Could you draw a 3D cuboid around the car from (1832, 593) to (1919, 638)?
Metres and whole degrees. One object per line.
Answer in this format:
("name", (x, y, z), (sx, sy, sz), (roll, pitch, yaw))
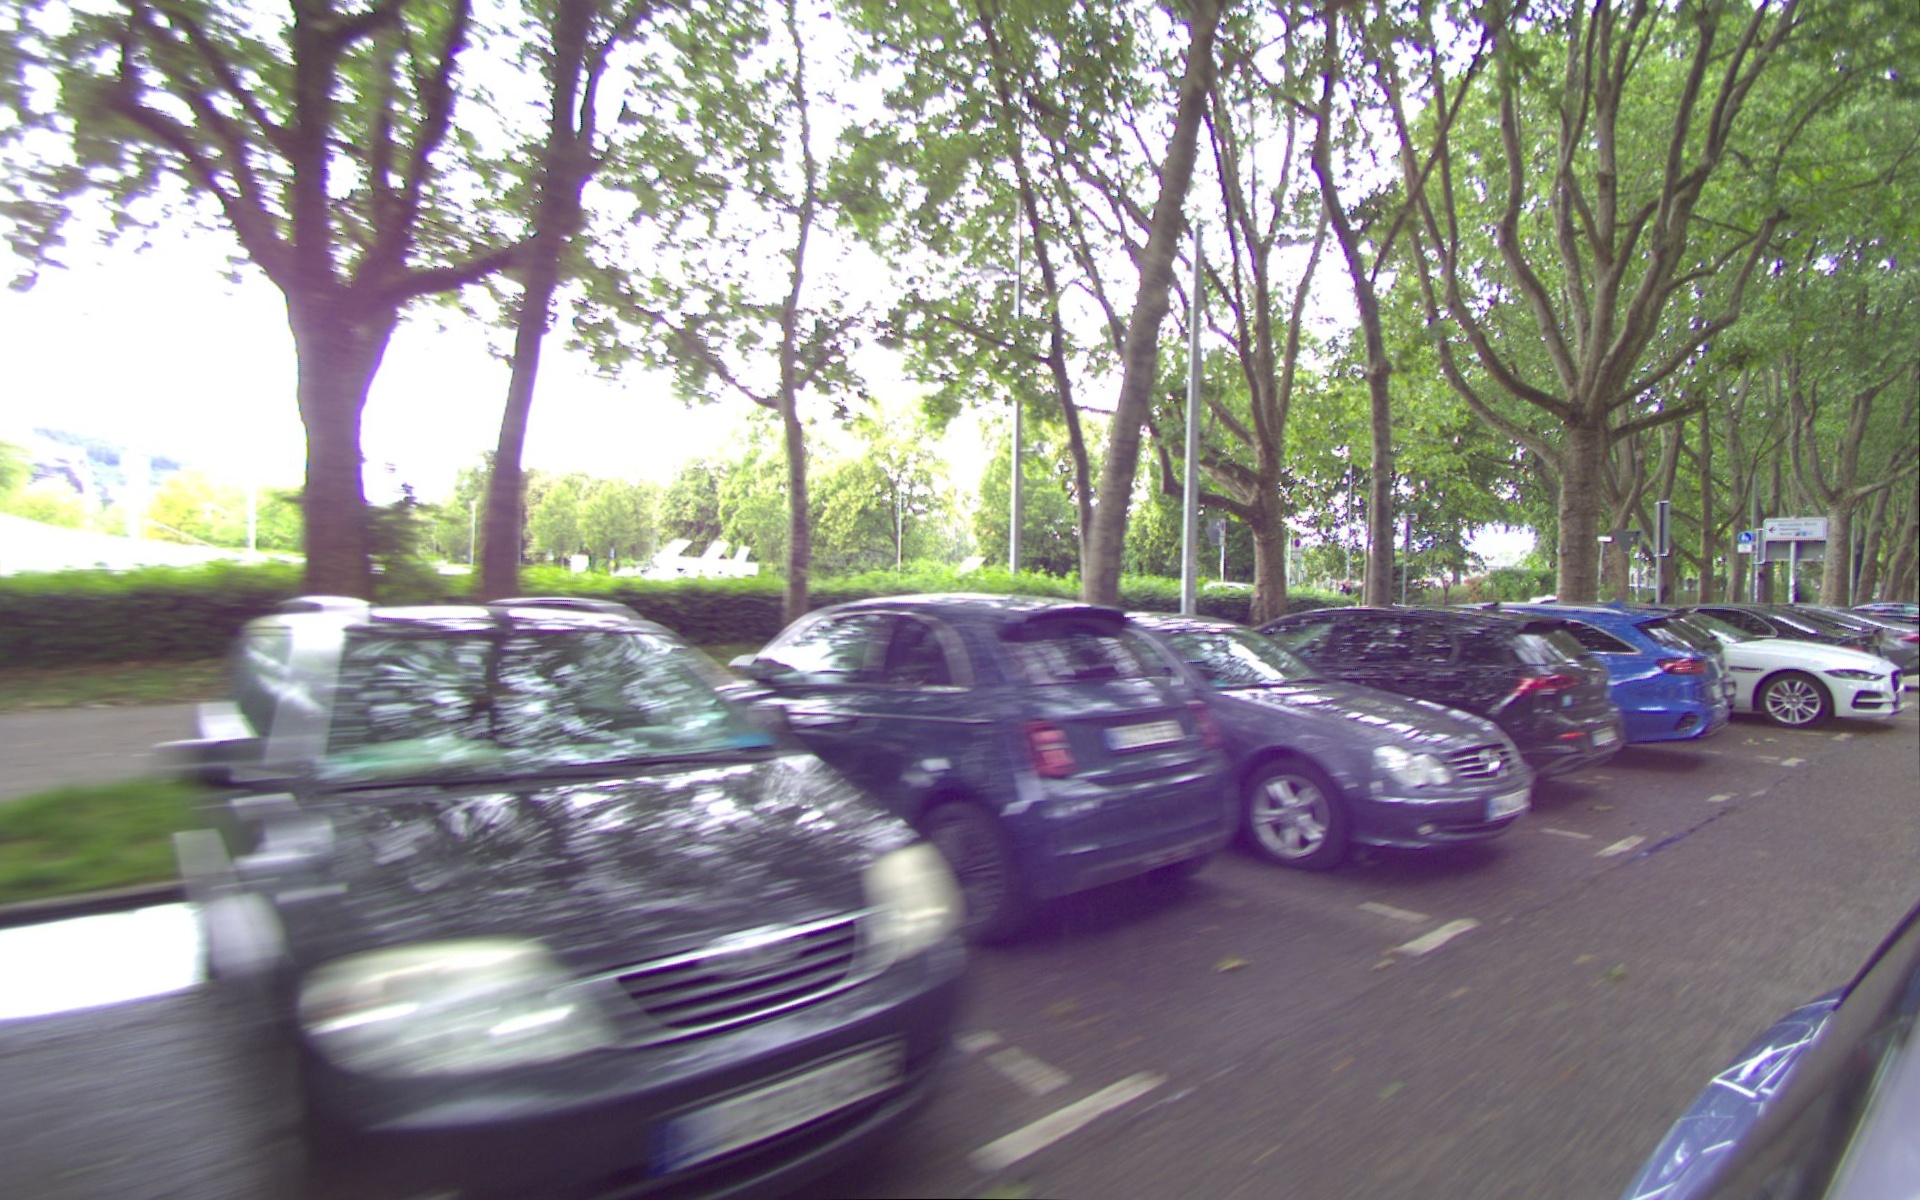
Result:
("car", (33.907, 0.543, 35.831), (1.966, 1.496, 4.378), (-1, 1, -42))

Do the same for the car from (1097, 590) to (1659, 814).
("car", (3.383, 0.672, 8.815), (1.755, 1.474, 4.200), (1, 0, -43))

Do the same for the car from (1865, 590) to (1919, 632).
("car", (36.444, 0.387, 37.115), (1.966, 1.542, 4.670), (0, -1, -42))

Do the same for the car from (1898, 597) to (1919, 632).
("car", (44.212, 0.621, 44.036), (1.962, 1.542, 4.679), (0, -1, -34))

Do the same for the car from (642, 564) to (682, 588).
("car", (-25.972, -2.057, 88.026), (1.964, 2.039, 3.996), (-1, 1, -39))

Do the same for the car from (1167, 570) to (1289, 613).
("car", (10.254, -0.347, 38.933), (1.754, 1.480, 4.284), (0, 2, -42))

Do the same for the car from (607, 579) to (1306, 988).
("car", (-0.341, 0.689, 5.966), (1.755, 1.538, 4.200), (1, 0, -43))

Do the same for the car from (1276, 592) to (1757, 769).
("car", (5.565, 0.662, 10.446), (4.017, 1.466, 1.883), (0, 0, 45))

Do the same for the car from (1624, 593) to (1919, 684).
("car", (14.944, 0.615, 18.320), (1.686, 1.435, 4.600), (1, 0, -37))

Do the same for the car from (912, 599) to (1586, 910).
("car", (1.690, 0.741, 6.996), (1.755, 1.474, 4.200), (1, 0, -43))

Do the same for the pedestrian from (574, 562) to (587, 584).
("pedestrian", (-29.270, -2.079, 77.988), (0.722, 1.664, 0.687), (0, 1, 43))

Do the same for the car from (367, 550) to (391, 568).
("car", (-69.911, -4.937, 121.677), (1.963, 2.039, 3.997), (-1, 1, -38))

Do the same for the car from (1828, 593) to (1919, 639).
("car", (32.572, 0.521, 34.107), (1.966, 1.525, 4.825), (0, -1, -42))

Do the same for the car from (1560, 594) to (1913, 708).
("car", (11.216, 0.639, 14.833), (1.687, 1.435, 3.839), (1, 0, -39))

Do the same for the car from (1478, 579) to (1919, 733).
("car", (9.547, 0.580, 13.230), (2.017, 1.644, 4.534), (1, 0, -39))

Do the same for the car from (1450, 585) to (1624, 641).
("car", (17.596, 0.341, 31.035), (1.754, 1.480, 4.284), (0, 2, -42))

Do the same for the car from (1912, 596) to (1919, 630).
("car", (46.066, 0.578, 45.334), (1.962, 1.542, 4.678), (0, -1, -35))

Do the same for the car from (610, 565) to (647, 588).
("car", (-30.299, -2.143, 92.498), (1.964, 2.039, 3.996), (-1, 1, -39))

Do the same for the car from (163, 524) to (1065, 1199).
("car", (-1.744, 0.664, 3.730), (1.754, 1.538, 4.203), (0, 0, -40))

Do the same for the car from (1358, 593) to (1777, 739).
("car", (7.155, 0.665, 12.273), (1.752, 1.466, 4.024), (1, 0, -39))

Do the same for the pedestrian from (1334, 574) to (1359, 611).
("pedestrian", (16.757, -0.317, 43.895), (0.685, 1.587, 0.725), (0, 1, -34))

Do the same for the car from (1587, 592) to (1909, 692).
("car", (12.908, 0.602, 16.728), (4.019, 1.435, 1.880), (1, 0, 45))
